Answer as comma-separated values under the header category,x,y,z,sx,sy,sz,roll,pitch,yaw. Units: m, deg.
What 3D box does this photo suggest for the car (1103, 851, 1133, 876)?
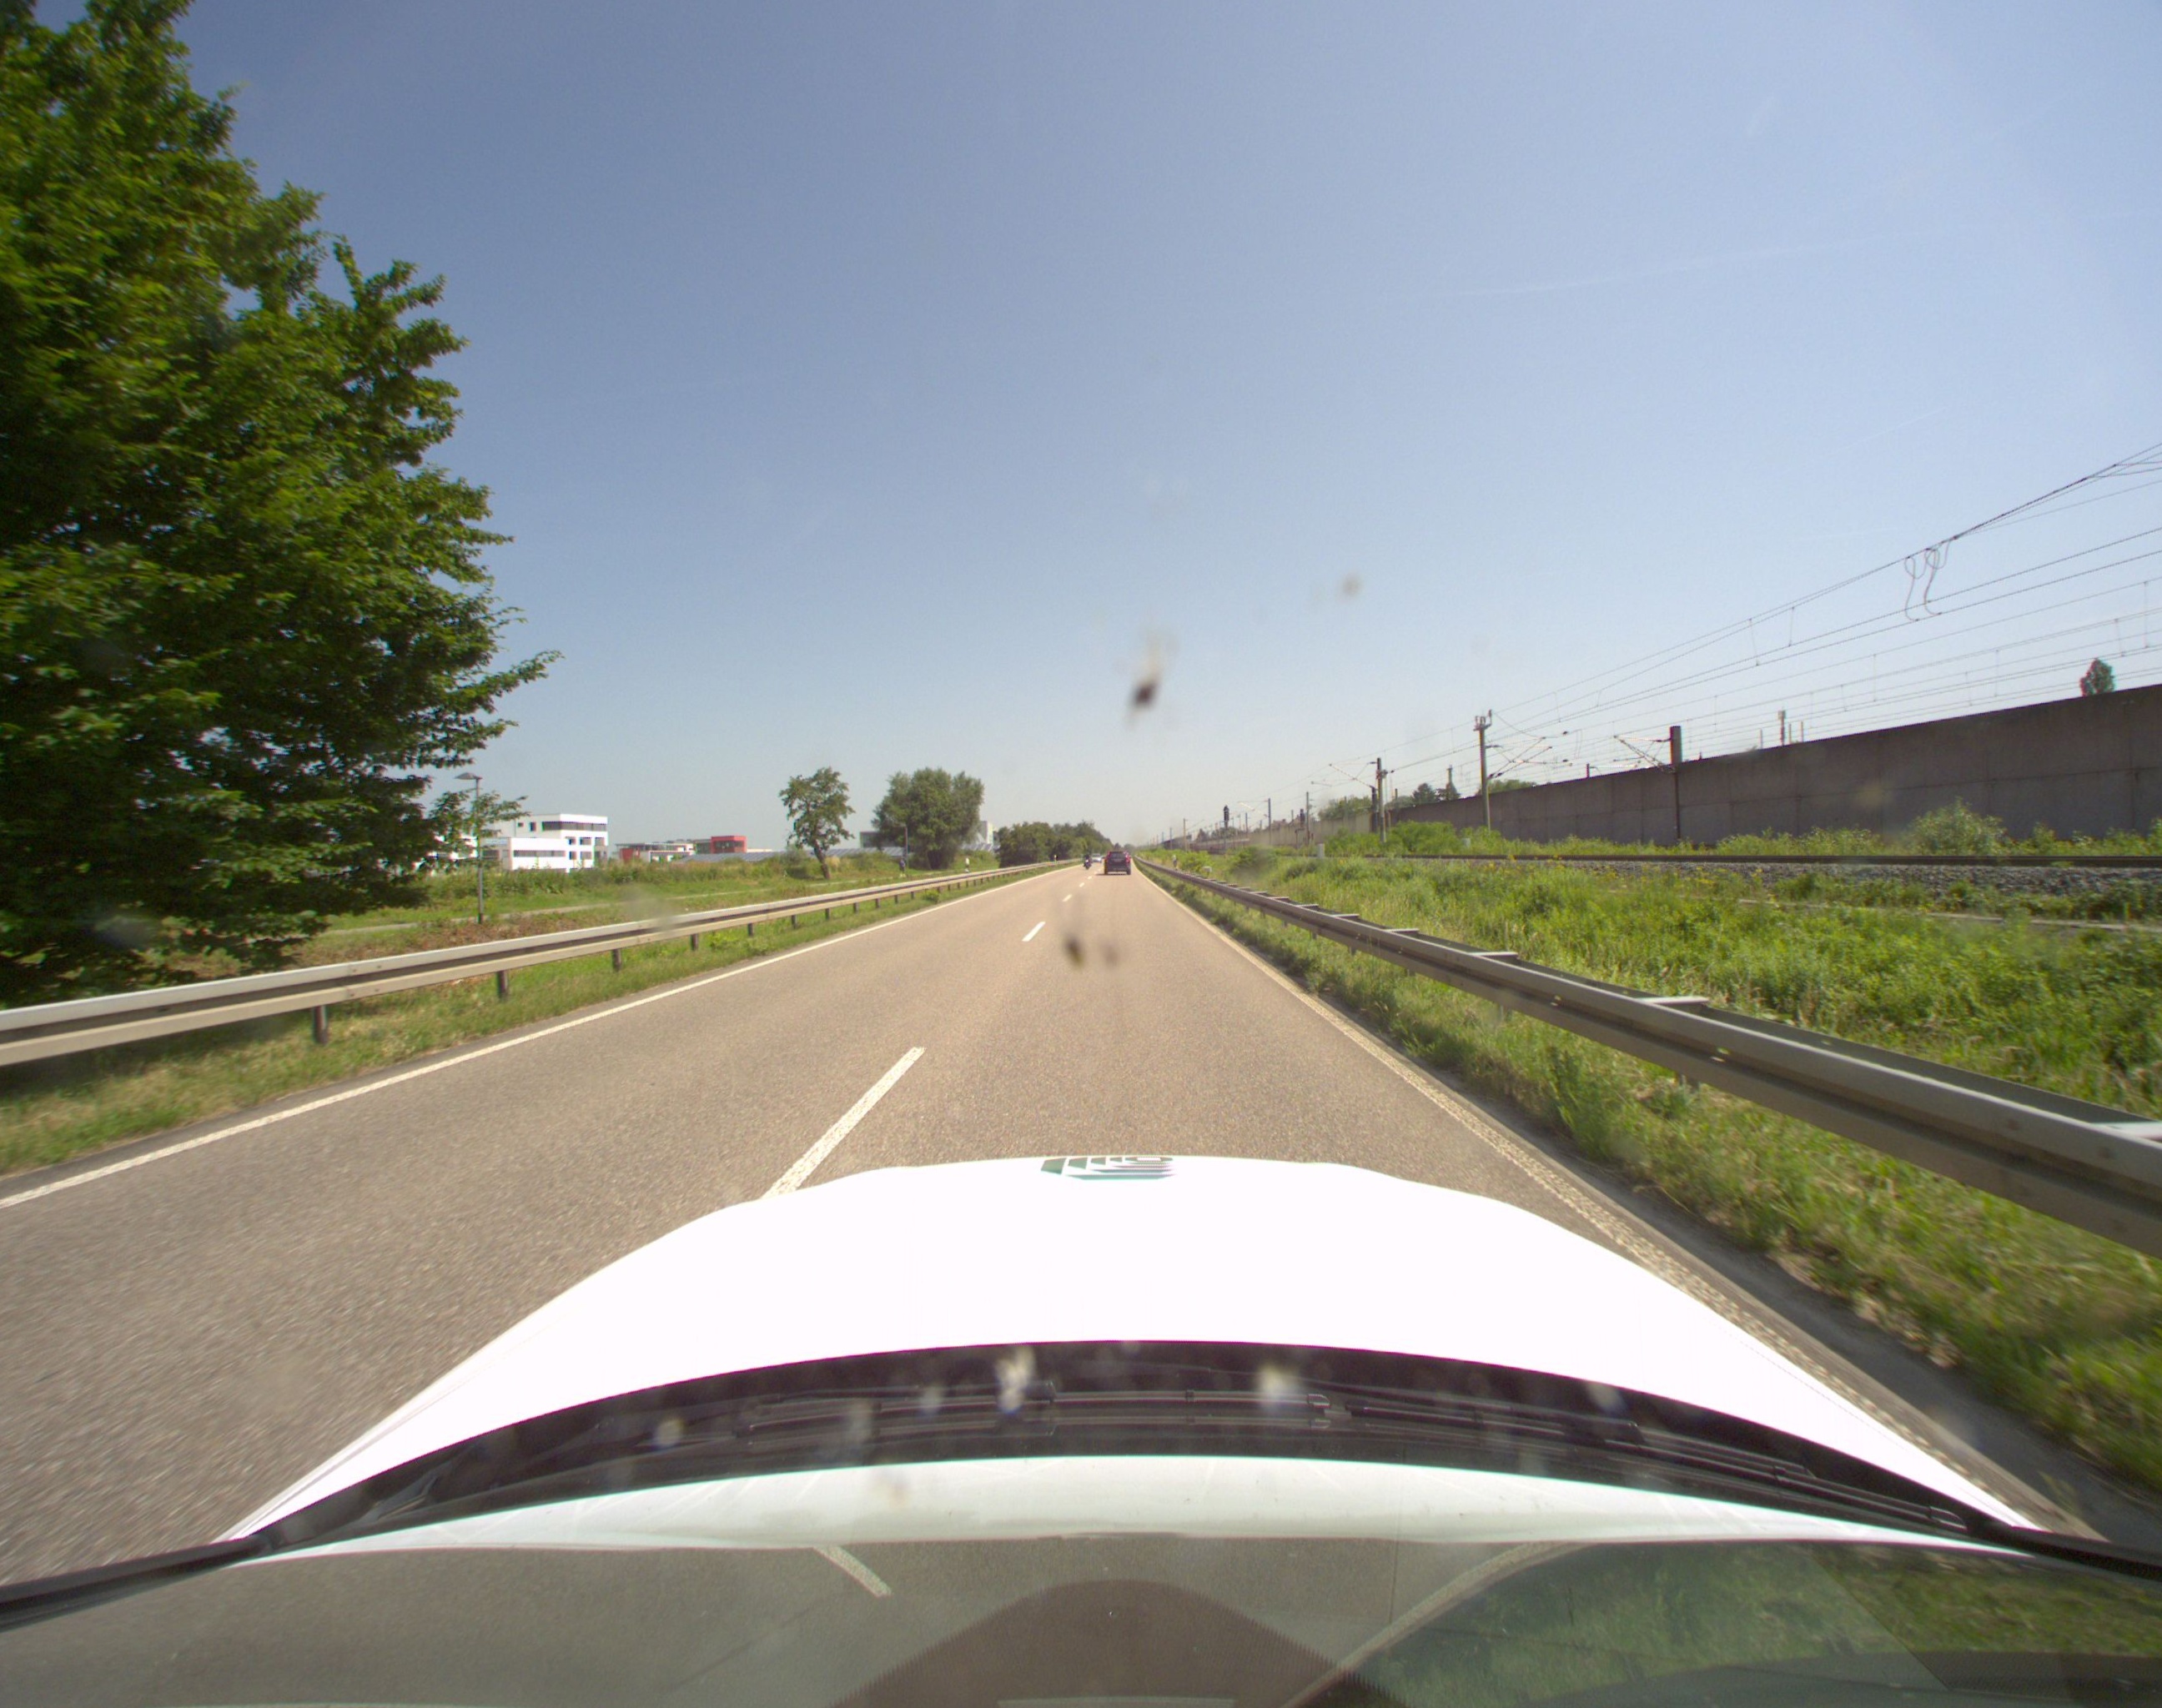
category,x,y,z,sx,sy,sz,roll,pitch,yaw
car,2.608,0.668,58.138,1.986,1.700,4.001,-1,0,1

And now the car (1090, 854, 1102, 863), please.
category,x,y,z,sx,sy,sz,roll,pitch,yaw
car,2.436,0.737,129.689,1.691,1.475,4.689,0,0,3

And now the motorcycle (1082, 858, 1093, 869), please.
category,x,y,z,sx,sy,sz,roll,pitch,yaw
motorcycle,0.657,0.947,79.461,0.924,1.028,2.269,0,0,3

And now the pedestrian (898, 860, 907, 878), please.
category,x,y,z,sx,sy,sz,roll,pitch,yaw
pedestrian,-18.499,1.536,84.253,0.575,1.750,0.822,-3,-1,7

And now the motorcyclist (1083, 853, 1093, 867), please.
category,x,y,z,sx,sy,sz,roll,pitch,yaw
motorcyclist,0.670,0.592,79.412,0.989,1.310,0.936,0,0,2
